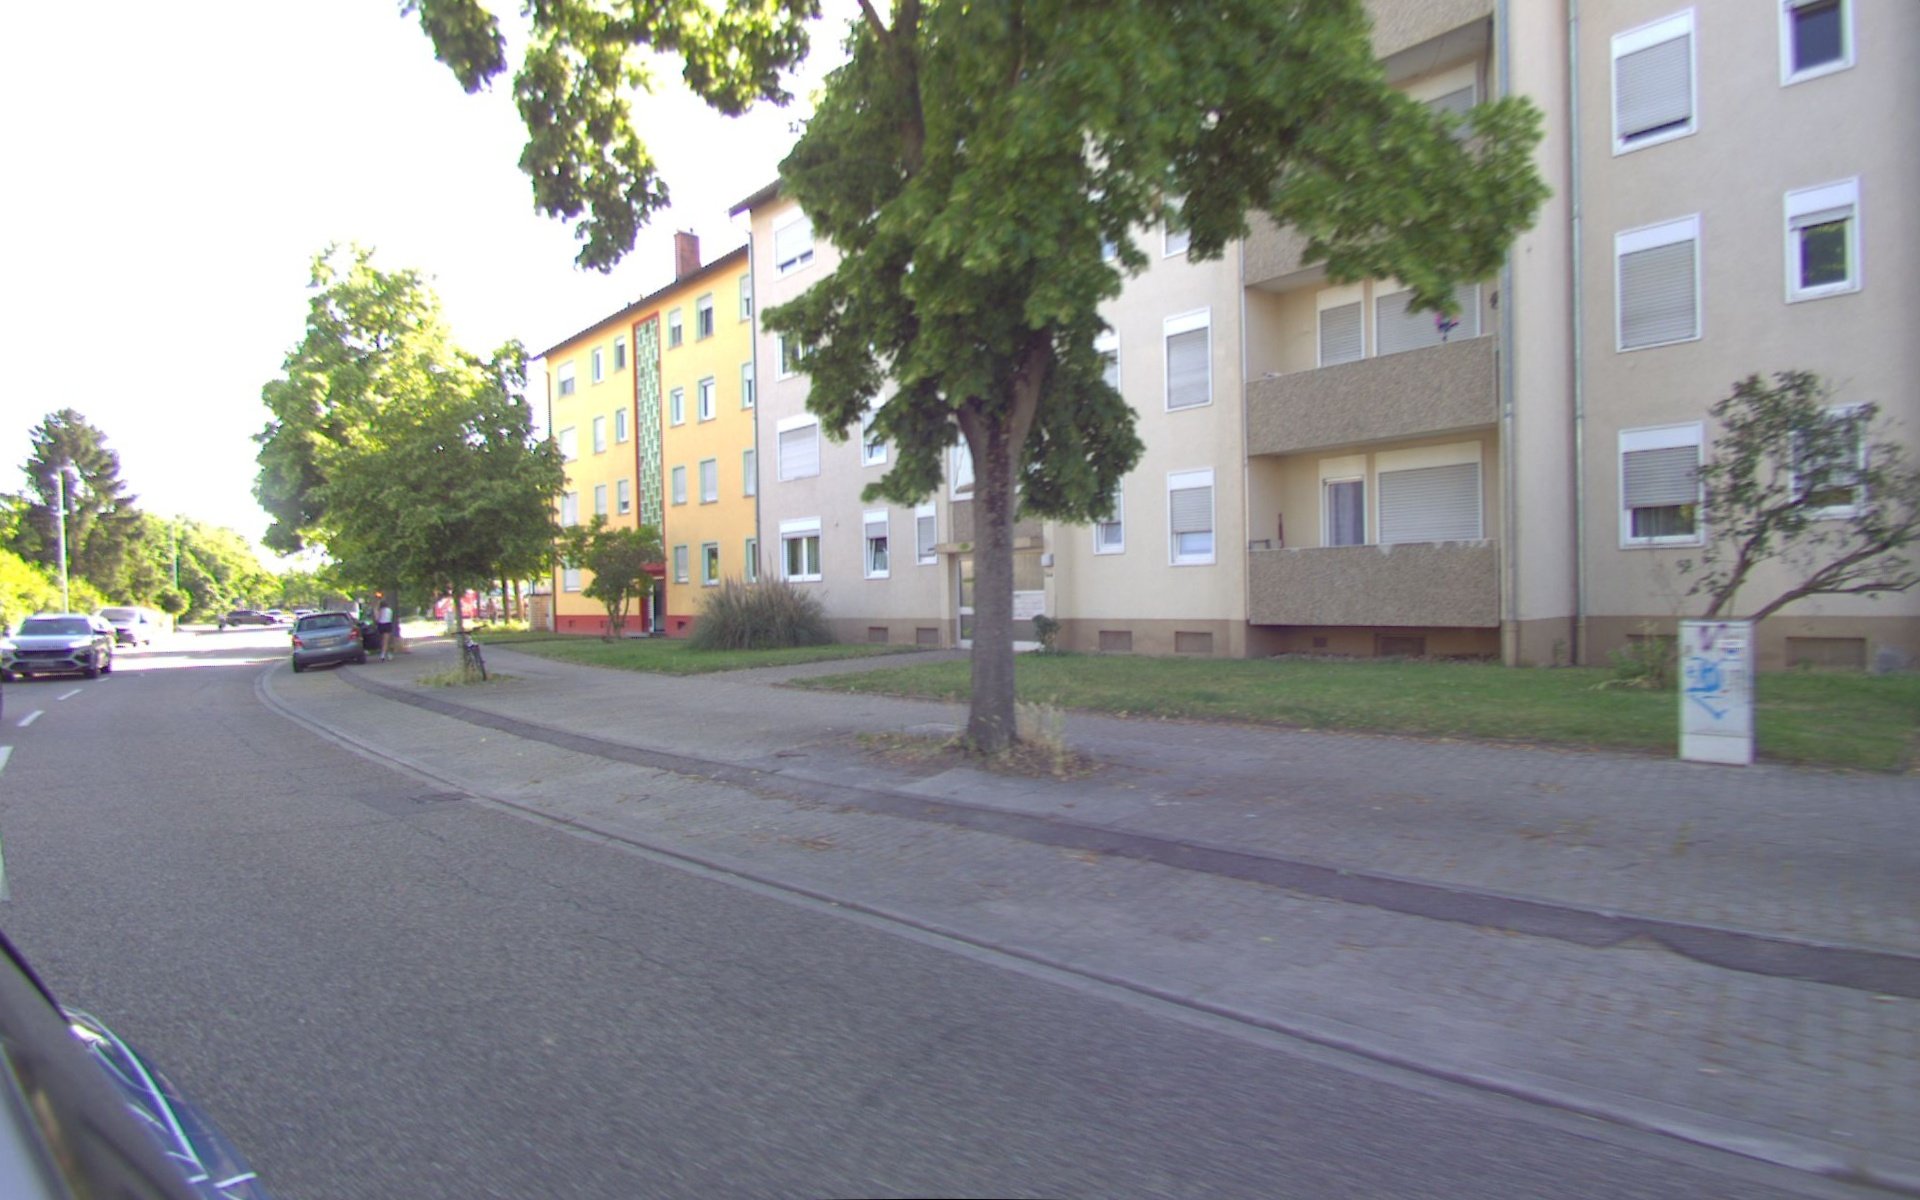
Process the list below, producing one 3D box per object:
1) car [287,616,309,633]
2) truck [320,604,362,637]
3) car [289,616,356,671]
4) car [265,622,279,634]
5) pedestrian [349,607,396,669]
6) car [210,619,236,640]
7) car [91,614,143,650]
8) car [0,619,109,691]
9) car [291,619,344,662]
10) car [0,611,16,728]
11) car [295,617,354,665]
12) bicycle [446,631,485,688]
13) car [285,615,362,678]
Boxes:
[{"bbox_3d":[-60.699,2.210,92.823,1.522,1.476,3.713,-2,0,-35],"label":"car"},{"bbox_3d":[-47.212,1.525,77.242,2.373,2.384,4.540,-2,0,-28],"label":"truck"},{"bbox_3d":[-19.756,1.315,31.449,1.625,1.551,3.715,-2,0,-31],"label":"car"},{"bbox_3d":[-93.026,3.756,136.795,1.522,1.476,3.713,-2,0,-35],"label":"car"},{"bbox_3d":[-15.979,1.015,27.551,0.945,1.641,0.735,-1,0,-19],"label":"pedestrian"},{"bbox_3d":[-59.406,2.390,81.592,1.614,1.590,3.713,-2,0,-35],"label":"car"},{"bbox_3d":[-40.672,1.527,48.901,1.614,1.590,3.713,-2,0,-35],"label":"car"},{"bbox_3d":[-22.228,1.299,24.942,1.556,1.590,3.713,-2,0,-35],"label":"car"},{"bbox_3d":[-25.300,1.555,39.917,1.625,1.551,3.715,-2,0,-31],"label":"car"},{"bbox_3d":[-13.783,0.978,13.098,1.749,1.646,3.713,-2,0,-35],"label":"car"},{"bbox_3d":[-22.316,1.410,35.619,1.625,1.551,3.715,-2,0,-31],"label":"car"},{"bbox_3d":[-9.327,1.111,19.057,0.352,1.015,1.202,-3,0,-39],"label":"bicycle"},{"bbox_3d":[-17.231,1.210,27.491,1.625,1.551,3.715,-2,0,-31],"label":"car"}]
